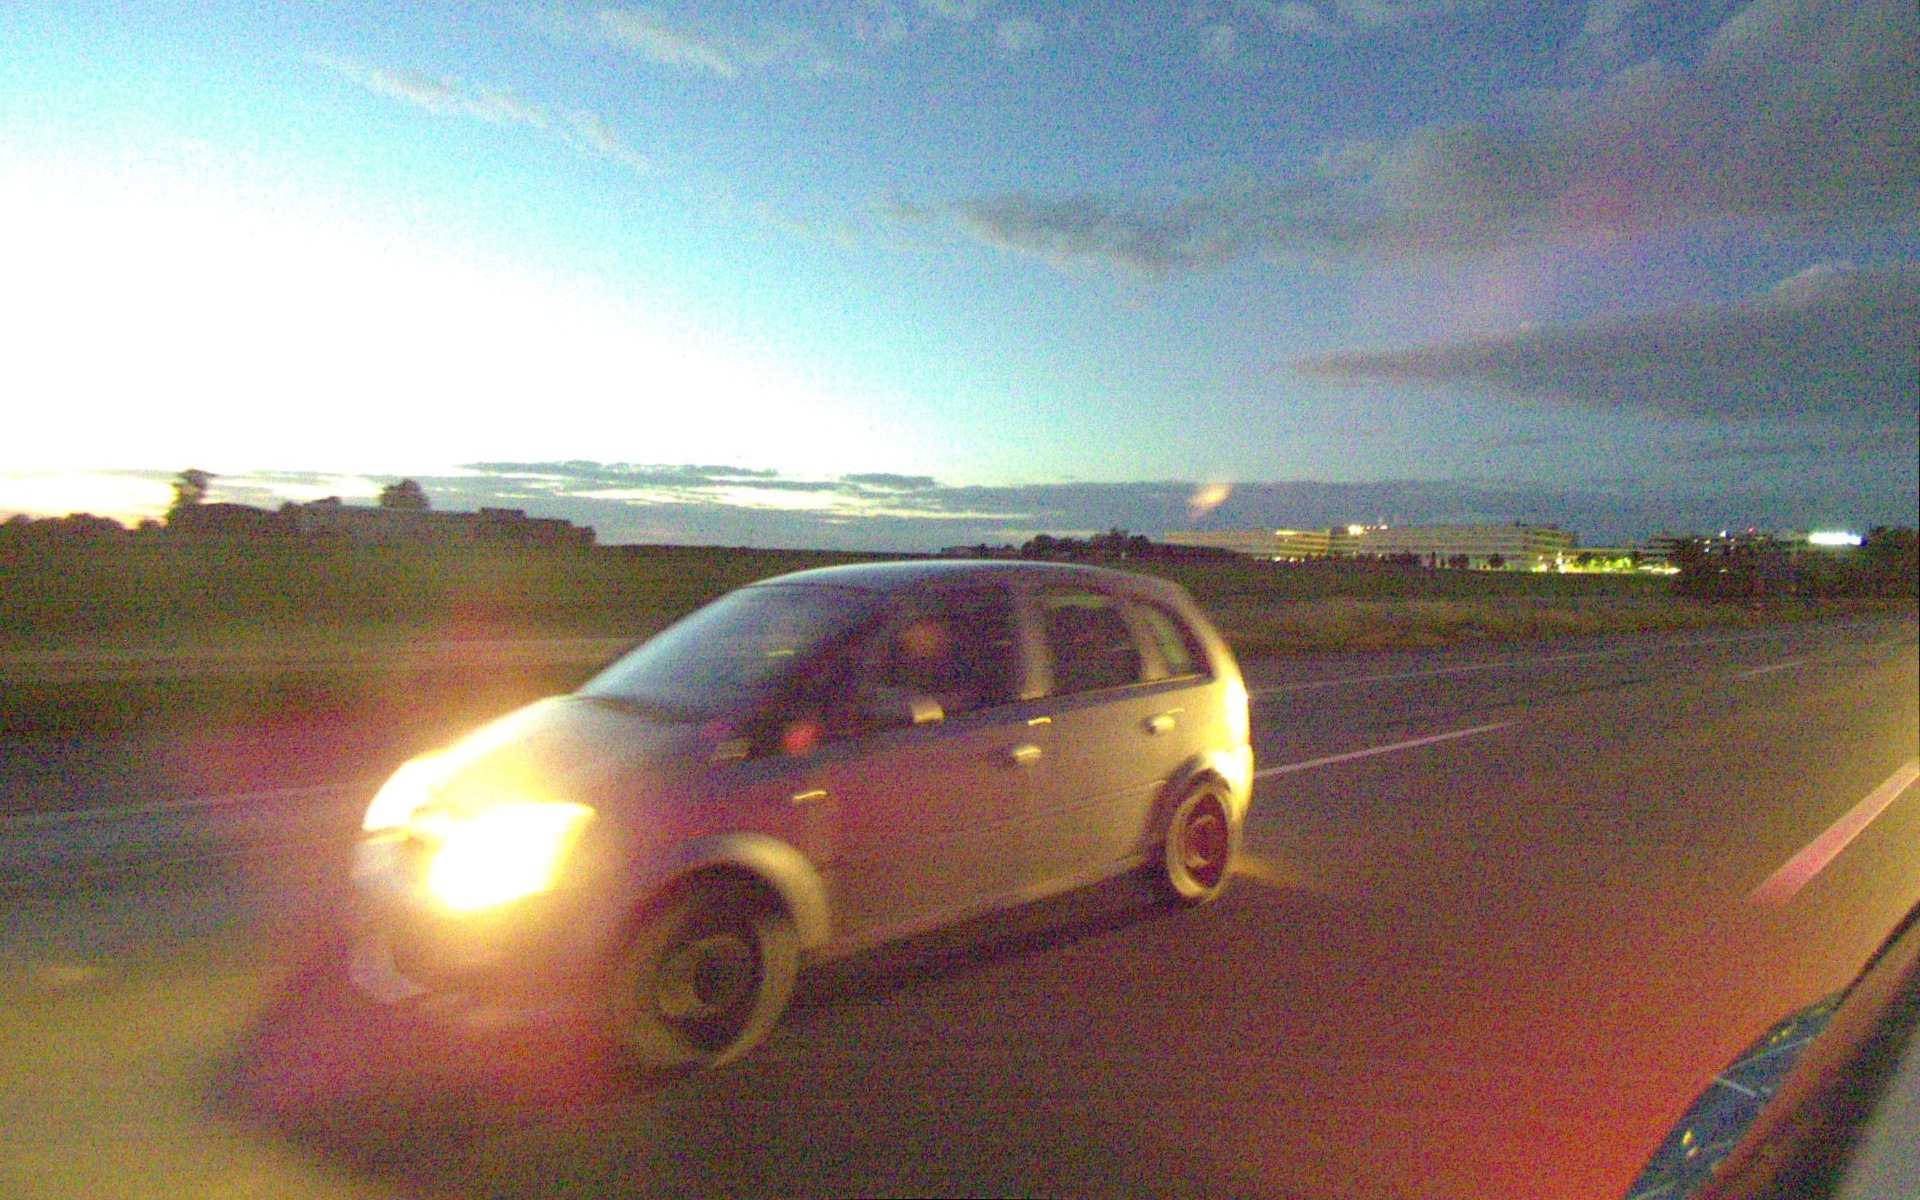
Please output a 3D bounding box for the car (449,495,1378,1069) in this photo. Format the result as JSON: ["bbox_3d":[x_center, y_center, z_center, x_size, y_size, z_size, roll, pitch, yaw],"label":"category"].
[{"bbox_3d":[0.142,0.484,4.917,4.430,1.616,1.649,0,2,-41],"label":"car"}]
